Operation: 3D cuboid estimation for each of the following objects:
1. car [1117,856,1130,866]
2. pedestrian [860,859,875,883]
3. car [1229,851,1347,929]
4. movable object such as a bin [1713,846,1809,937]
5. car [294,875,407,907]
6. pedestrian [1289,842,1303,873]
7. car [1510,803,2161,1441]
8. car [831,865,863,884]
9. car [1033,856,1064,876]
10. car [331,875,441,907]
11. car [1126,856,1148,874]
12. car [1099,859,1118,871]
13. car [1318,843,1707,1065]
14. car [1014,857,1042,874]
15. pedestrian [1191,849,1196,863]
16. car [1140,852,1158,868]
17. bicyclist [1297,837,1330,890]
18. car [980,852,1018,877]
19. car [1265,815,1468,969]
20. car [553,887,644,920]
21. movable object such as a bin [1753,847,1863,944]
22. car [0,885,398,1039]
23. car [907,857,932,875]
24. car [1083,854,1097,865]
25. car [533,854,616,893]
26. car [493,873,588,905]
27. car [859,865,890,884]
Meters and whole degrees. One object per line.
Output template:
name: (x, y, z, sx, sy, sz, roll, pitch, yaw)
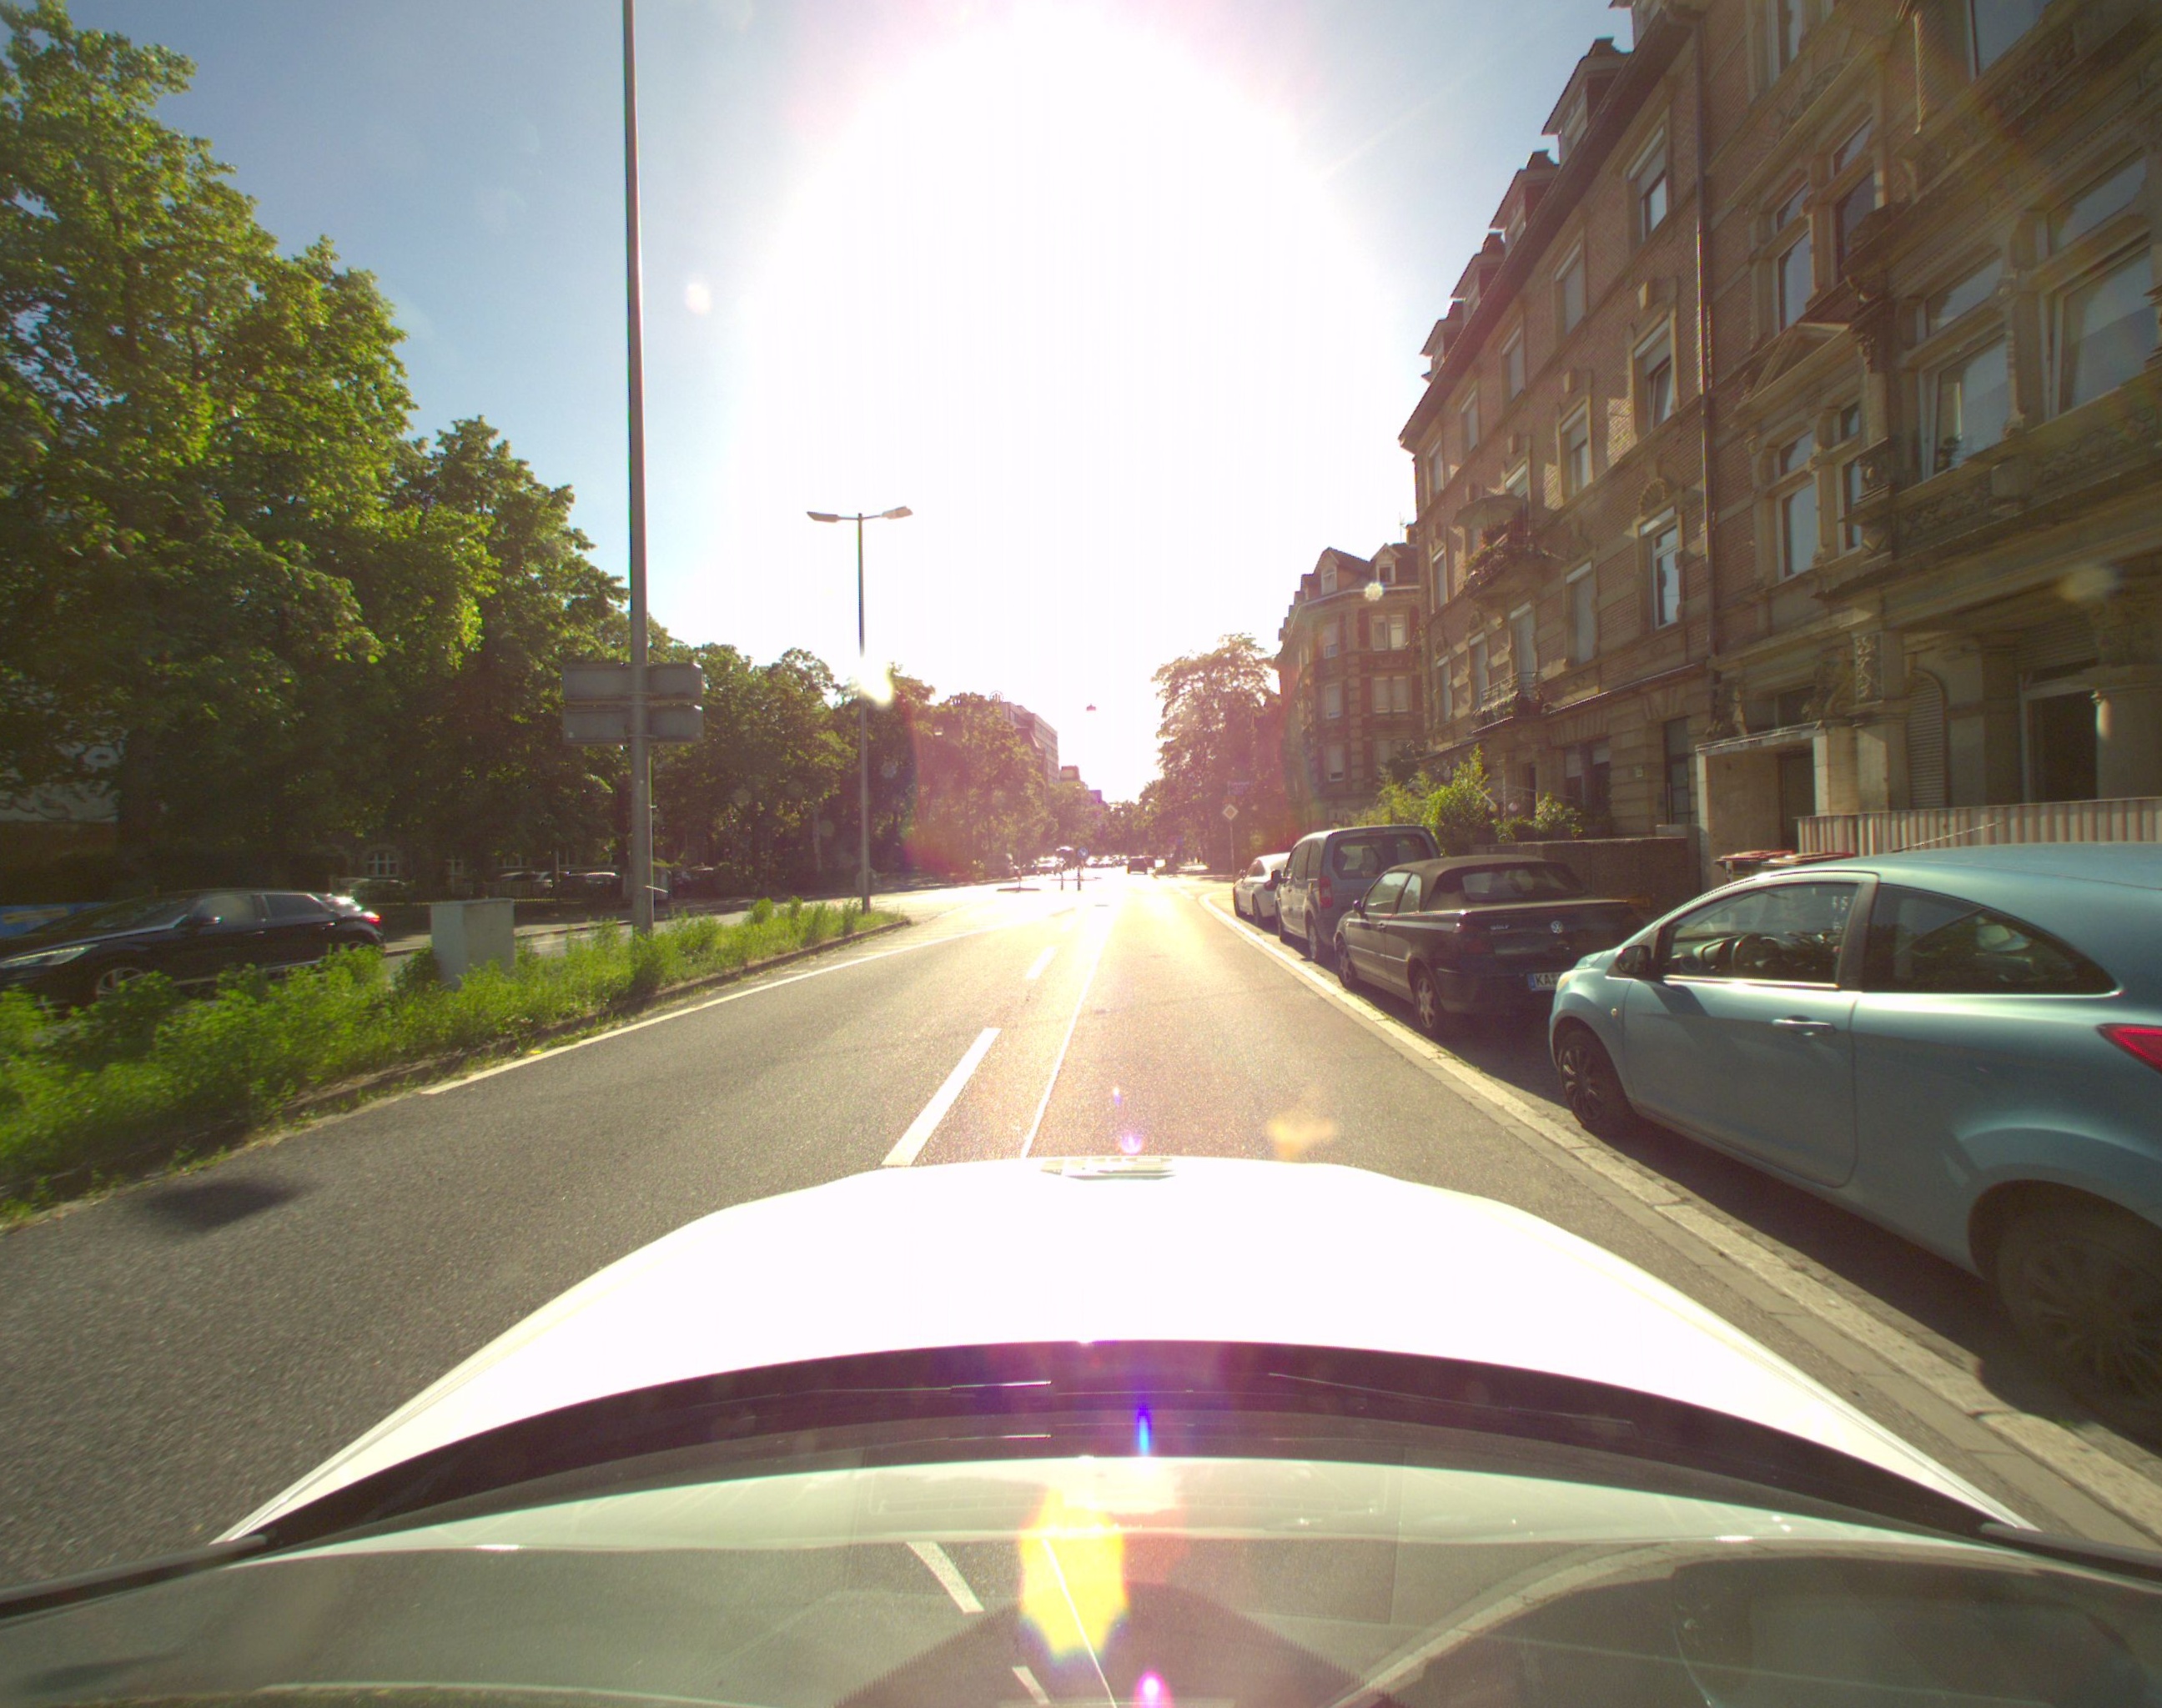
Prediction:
car: (7.191, 1.174, 137.207, 1.628, 1.519, 4.042, -2, 0, 10)
pedestrian: (-14.227, 1.136, 54.272, 0.662, 1.626, 0.720, -2, 0, 36)
car: (4.329, 0.682, 17.629, 1.702, 1.425, 4.210, -2, 0, 4)
movable object such as a bin: (8.994, 0.498, 10.801, 0.719, 1.157, 0.609, -1, -3, 4)
car: (-36.518, 1.880, 40.855, 1.838, 1.491, 4.002, -1, -3, 3)
pedestrian: (12.713, 0.205, 48.146, 0.652, 1.816, 0.753, -1, -3, 8)
car: (3.402, 0.604, 3.260, 1.615, 1.470, 3.300, -5, 0, 2)
car: (-21.865, 1.904, 75.930, 1.987, 1.662, 3.963, -2, 0, -28)
car: (-2.747, 0.993, 69.708, 1.748, 1.519, 3.870, -3, 0, 10)
car: (-34.519, 1.847, 40.607, 1.838, 1.491, 4.002, -1, -3, 3)
car: (4.977, 0.942, 72.645, 1.886, 1.519, 4.004, 0, 0, 4)
car: (3.596, 1.381, 105.053, 1.773, 1.460, 4.427, -1, -1, 10)
car: (3.528, 0.671, 7.643, 1.660, 1.468, 4.280, -2, 0, 5)
car: (-5.045, 1.069, 77.445, 1.748, 1.519, 3.870, -2, 0, 10)
pedestrian: (16.213, 0.244, 117.255, 0.612, 2.013, 0.681, -2, 0, 3)
car: (7.800, 0.665, 93.007, 1.809, 1.740, 4.008, -1, 0, 7)
bicyclist: (7.131, 0.279, 25.029, 0.738, 1.580, 1.101, -1, 1, 4)
car: (-6.620, 0.834, 66.320, 2.188, 1.929, 4.869, -2, 0, 5)
car: (4.012, 0.458, 12.238, 1.810, 1.844, 4.370, -2, 0, 5)
car: (-23.533, 2.410, 39.915, 1.838, 1.491, 4.002, -1, -3, 3)
movable object such as a bin: (8.911, 0.510, 10.008, 0.755, 1.157, 0.609, -1, -3, 4)
car: (-12.238, 1.266, 11.100, 1.786, 1.519, 4.431, -1, 0, 7)
car: (-16.028, 1.221, 80.527, 1.980, 1.662, 3.976, -2, 0, -17)
car: (1.282, 0.838, 120.108, 1.794, 1.504, 3.812, -2, 0, 4)
car: (-32.073, 1.316, 51.780, 1.838, 2.324, 4.988, 0, -3, 3)
car: (-26.611, 1.749, 40.258, 1.838, 1.491, 4.002, -1, -3, 3)
car: (-19.527, 1.915, 76.929, 1.986, 1.662, 3.965, -2, 0, -27)
